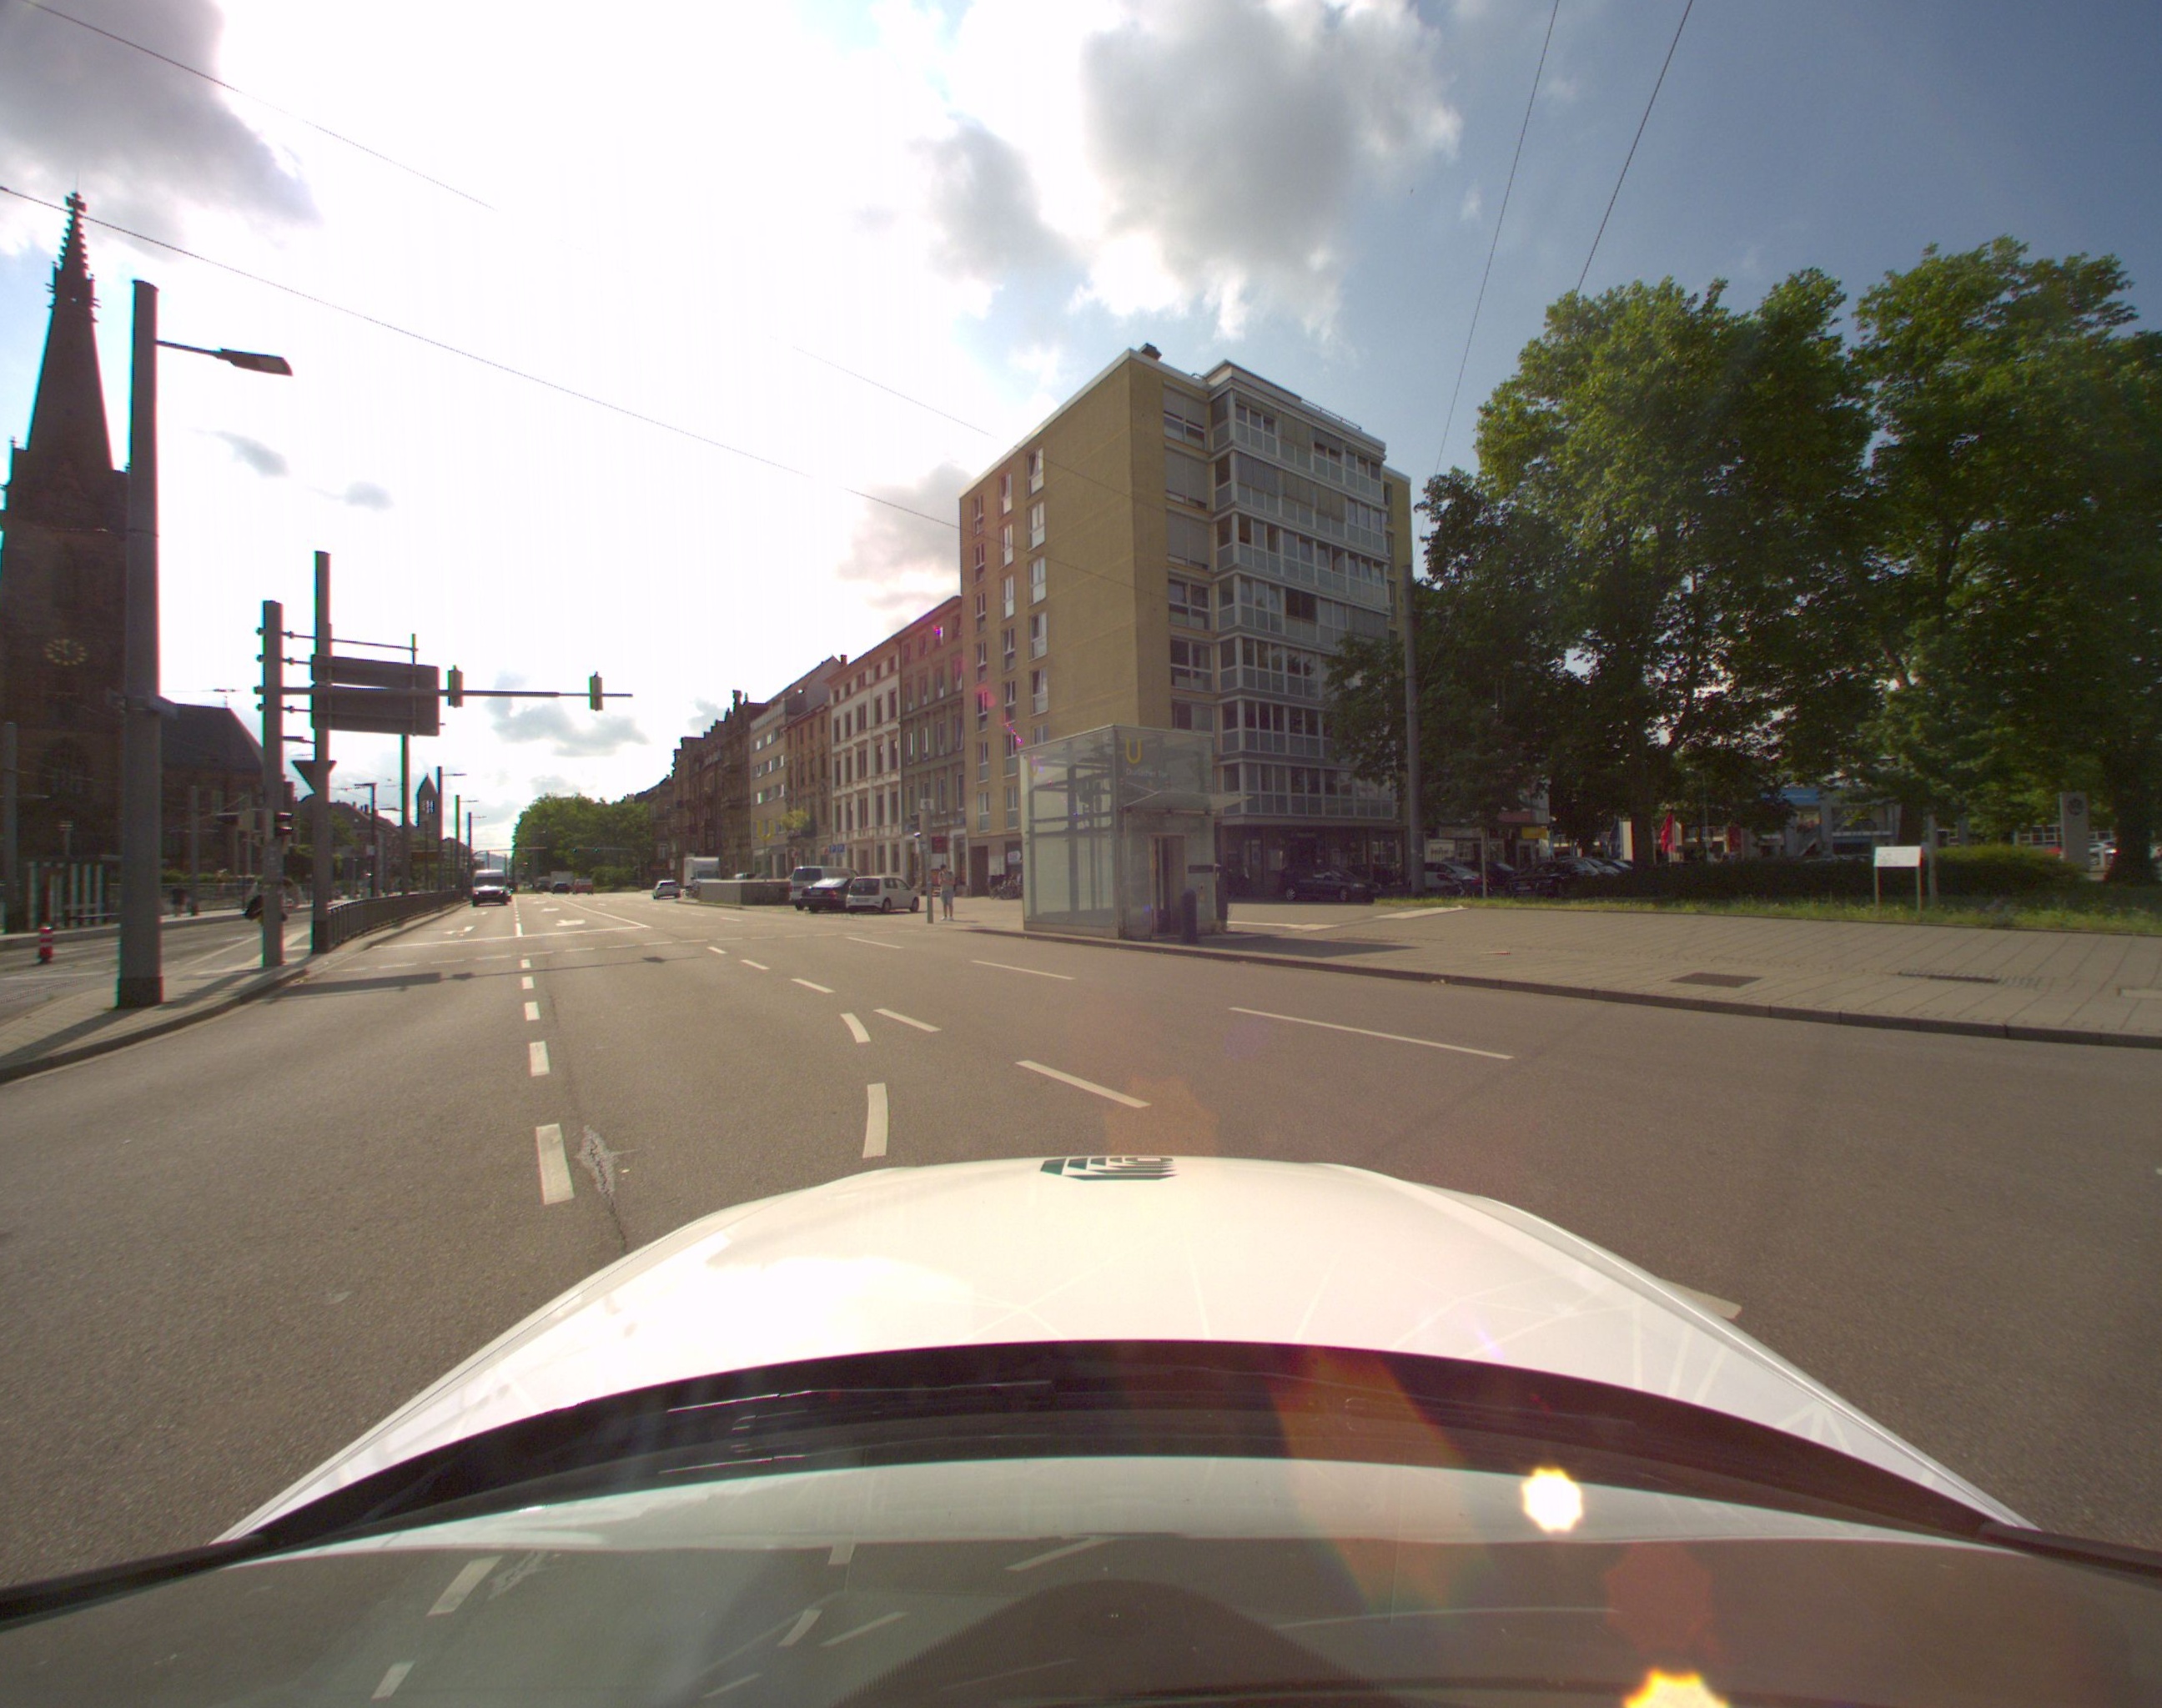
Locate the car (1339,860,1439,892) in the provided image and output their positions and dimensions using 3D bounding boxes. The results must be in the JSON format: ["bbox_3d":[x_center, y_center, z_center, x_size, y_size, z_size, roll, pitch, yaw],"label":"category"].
[{"bbox_3d":[13.730,1.015,36.479,1.593,1.327,3.956,-1,-2,-36],"label":"car"}]

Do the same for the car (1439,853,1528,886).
[{"bbox_3d":[20.066,0.801,40.681,1.703,1.530,3.534,-1,-2,-36],"label":"car"}]

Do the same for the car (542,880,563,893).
[{"bbox_3d":[-68.955,4.228,106.234,2.009,1.508,3.955,-1,-1,-37],"label":"car"}]

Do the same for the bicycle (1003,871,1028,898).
[{"bbox_3d":[-3.194,1.457,39.464,0.489,1.201,1.629,-3,3,-31],"label":"bicycle"}]

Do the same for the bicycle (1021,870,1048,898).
[{"bbox_3d":[-2.163,1.377,37.865,0.550,1.201,1.629,-3,3,-31],"label":"bicycle"}]

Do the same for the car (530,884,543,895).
[{"bbox_3d":[-88.441,5.706,132.260,1.784,1.662,3.957,-2,-1,-35],"label":"car"}]

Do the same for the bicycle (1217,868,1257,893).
[{"bbox_3d":[6.902,1.177,36.006,1.788,1.020,0.674,-1,-1,-36],"label":"bicycle"}]

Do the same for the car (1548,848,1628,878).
[{"bbox_3d":[29.611,0.536,47.670,1.672,1.594,3.583,-1,-2,-32],"label":"car"}]

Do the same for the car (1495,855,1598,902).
[{"bbox_3d":[17.537,0.878,30.660,4.016,1.419,1.779,-3,4,-34],"label":"car"}]

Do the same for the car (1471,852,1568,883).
[{"bbox_3d":[22.641,0.716,42.141,1.879,1.464,3.954,-1,-2,-37],"label":"car"}]

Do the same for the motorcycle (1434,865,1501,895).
[{"bbox_3d":[12.690,0.854,26.807,1.876,0.902,0.607,-3,0,11],"label":"motorcycle"}]

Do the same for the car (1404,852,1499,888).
[{"bbox_3d":[17.519,0.778,38.657,2.009,1.530,3.534,-1,-2,-36],"label":"car"}]

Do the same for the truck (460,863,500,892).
[{"bbox_3d":[-77.528,3.052,104.942,7.353,3.648,2.487,-2,-1,40],"label":"truck"}]

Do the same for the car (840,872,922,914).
[{"bbox_3d":[-7.918,1.503,32.558,1.702,1.440,3.526,0,1,14],"label":"car"}]

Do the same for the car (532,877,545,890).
[{"bbox_3d":[-95.270,5.157,142.905,1.784,2.234,3.957,-2,-1,-35],"label":"car"}]

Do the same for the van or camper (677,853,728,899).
[{"bbox_3d":[-32.216,1.761,69.142,2.732,3.330,7.560,-3,3,-34],"label":"van or camper"}]

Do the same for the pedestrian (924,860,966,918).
[{"bbox_3d":[-4.264,1.100,25.534,0.776,1.759,1.001,-3,-1,31],"label":"pedestrian"}]

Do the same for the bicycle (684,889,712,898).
[{"bbox_3d":[-27.400,2.825,58.285,1.752,0.586,0.641,-1,3,14],"label":"bicycle"}]

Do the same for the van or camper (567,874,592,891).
[{"bbox_3d":[-60.910,3.487,98.873,2.025,1.914,4.470,-1,-2,-39],"label":"van or camper"}]

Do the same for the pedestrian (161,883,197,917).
[{"bbox_3d":[-50.653,2.577,45.752,1.003,1.799,1.037,-1,4,-30],"label":"pedestrian"}]

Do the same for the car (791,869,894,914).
[{"bbox_3d":[-9.970,1.528,34.501,1.871,1.468,5.084,-1,2,13],"label":"car"}]

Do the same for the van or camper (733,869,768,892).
[{"bbox_3d":[-32.892,2.598,81.005,2.009,1.904,5.241,-6,5,-35],"label":"van or camper"}]

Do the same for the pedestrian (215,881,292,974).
[{"bbox_3d":[-16.273,1.427,16.046,0.849,1.673,0.786,-4,3,-37],"label":"pedestrian"}]

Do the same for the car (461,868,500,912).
[{"bbox_3d":[-42.667,2.471,57.969,2.009,2.621,5.520,-5,4,-35],"label":"car"}]

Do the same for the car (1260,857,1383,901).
[{"bbox_3d":[9.472,0.957,32.378,2.009,1.585,4.343,-1,0,-36],"label":"car"}]

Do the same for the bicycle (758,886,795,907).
[{"bbox_3d":[-16.122,2.248,43.111,1.788,1.004,0.506,0,1,-42],"label":"bicycle"}]

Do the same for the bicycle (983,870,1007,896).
[{"bbox_3d":[-4.430,1.489,41.933,0.490,1.201,1.628,-3,3,-35],"label":"bicycle"}]

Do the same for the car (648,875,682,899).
[{"bbox_3d":[-33.471,2.616,65.448,1.804,1.436,4.298,-7,5,-33],"label":"car"}]

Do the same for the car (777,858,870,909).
[{"bbox_3d":[-11.963,1.321,38.291,2.060,2.084,4.914,-1,1,10],"label":"car"}]

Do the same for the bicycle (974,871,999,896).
[{"bbox_3d":[-4.821,1.493,41.593,0.490,1.201,1.628,-3,3,-35],"label":"bicycle"}]

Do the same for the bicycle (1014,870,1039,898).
[{"bbox_3d":[-2.643,1.441,39.607,0.489,1.201,1.629,-3,3,-31],"label":"bicycle"}]

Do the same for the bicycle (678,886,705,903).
[{"bbox_3d":[-29.661,3.084,62.043,0.368,1.084,1.775,3,4,43],"label":"bicycle"}]

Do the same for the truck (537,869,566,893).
[{"bbox_3d":[-78.932,3.982,121.325,3.194,3.285,7.218,-4,0,-34],"label":"truck"}]
